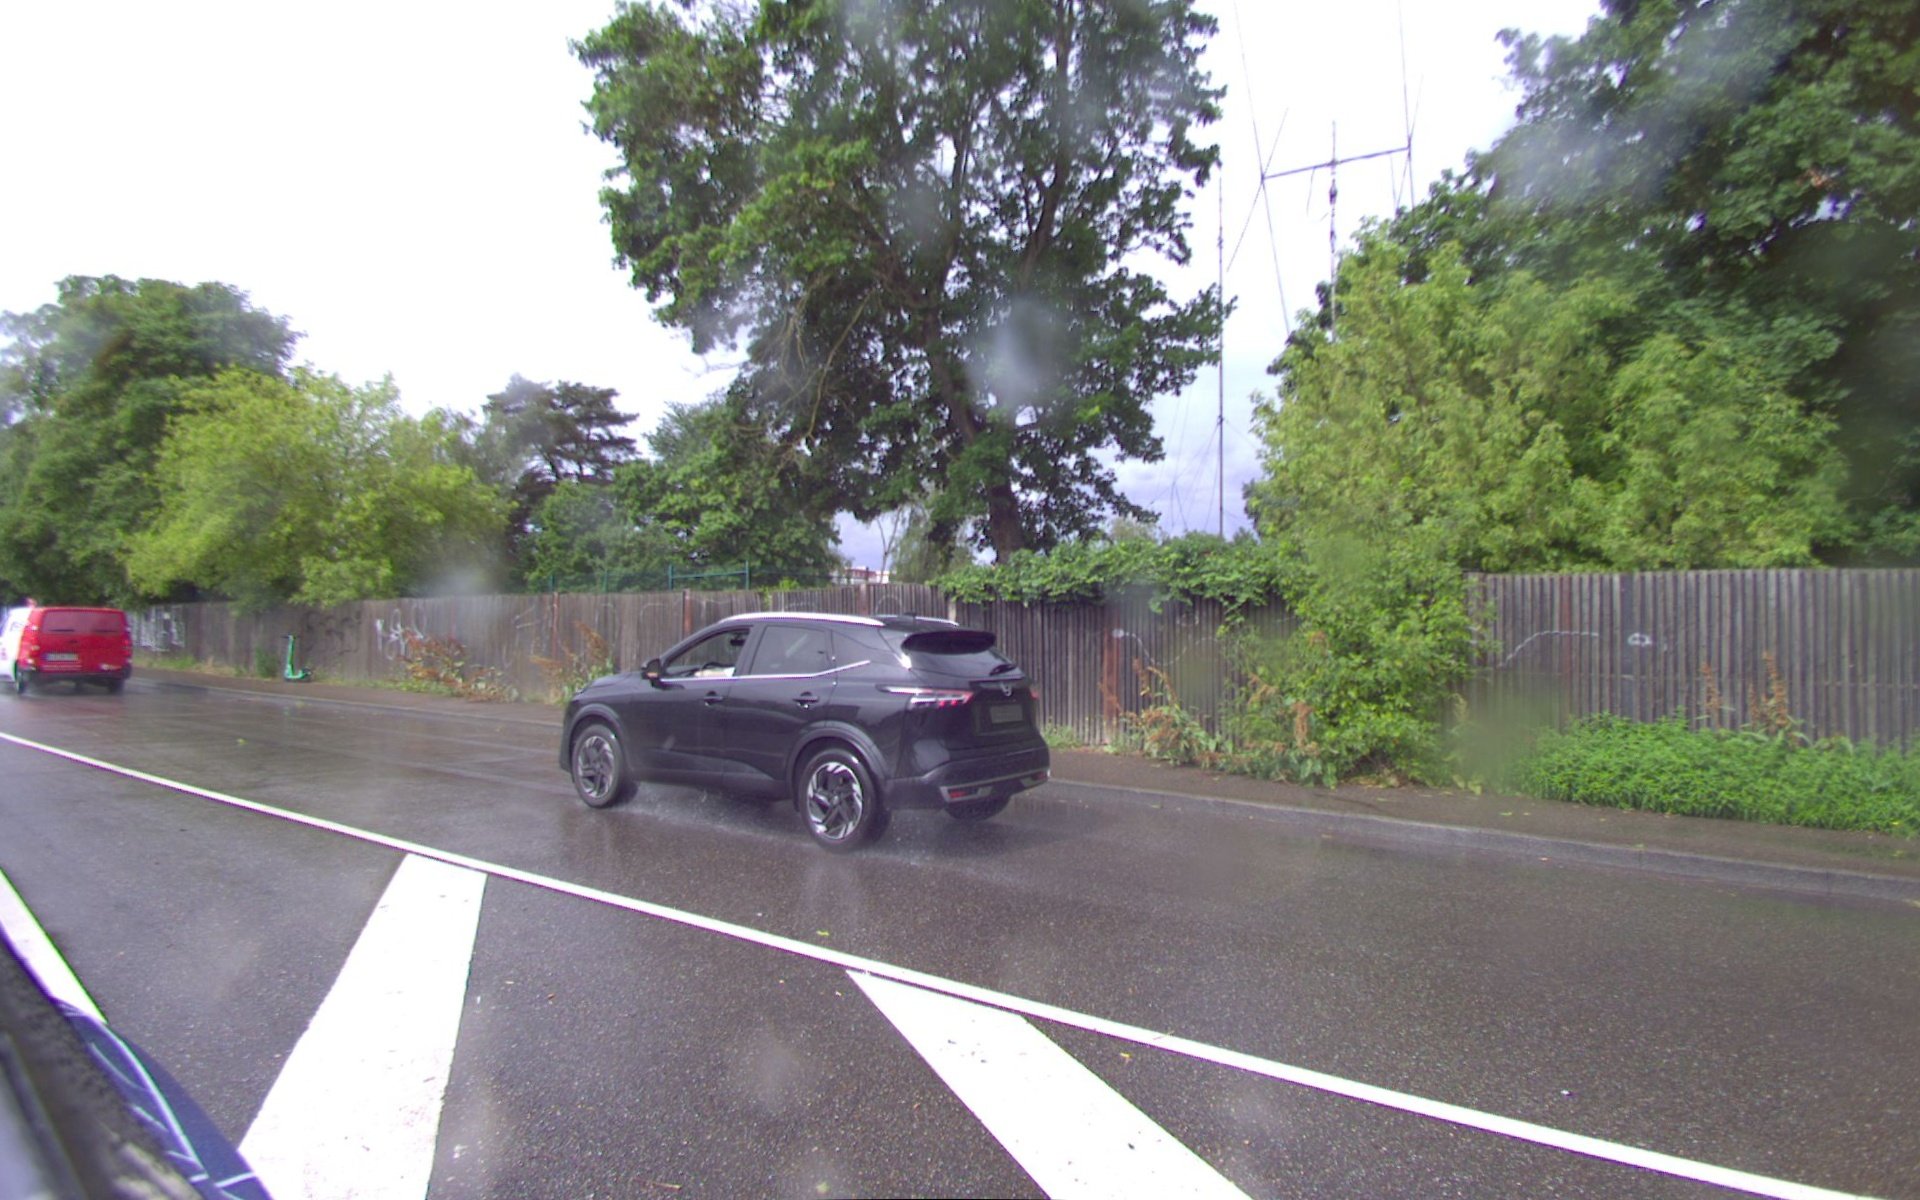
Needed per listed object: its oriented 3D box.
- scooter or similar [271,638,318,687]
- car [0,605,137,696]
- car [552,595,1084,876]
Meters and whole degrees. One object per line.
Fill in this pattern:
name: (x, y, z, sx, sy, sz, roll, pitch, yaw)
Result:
scooter or similar: (-16.485, 1.522, 25.066, 1.205, 1.171, 0.557, -1, -2, 35)
car: (-20.964, 1.131, 23.319, 5.123, 1.890, 1.870, -1, -3, 37)
car: (-1.244, 0.887, 7.986, 4.101, 1.677, 1.718, -1, -4, 36)
